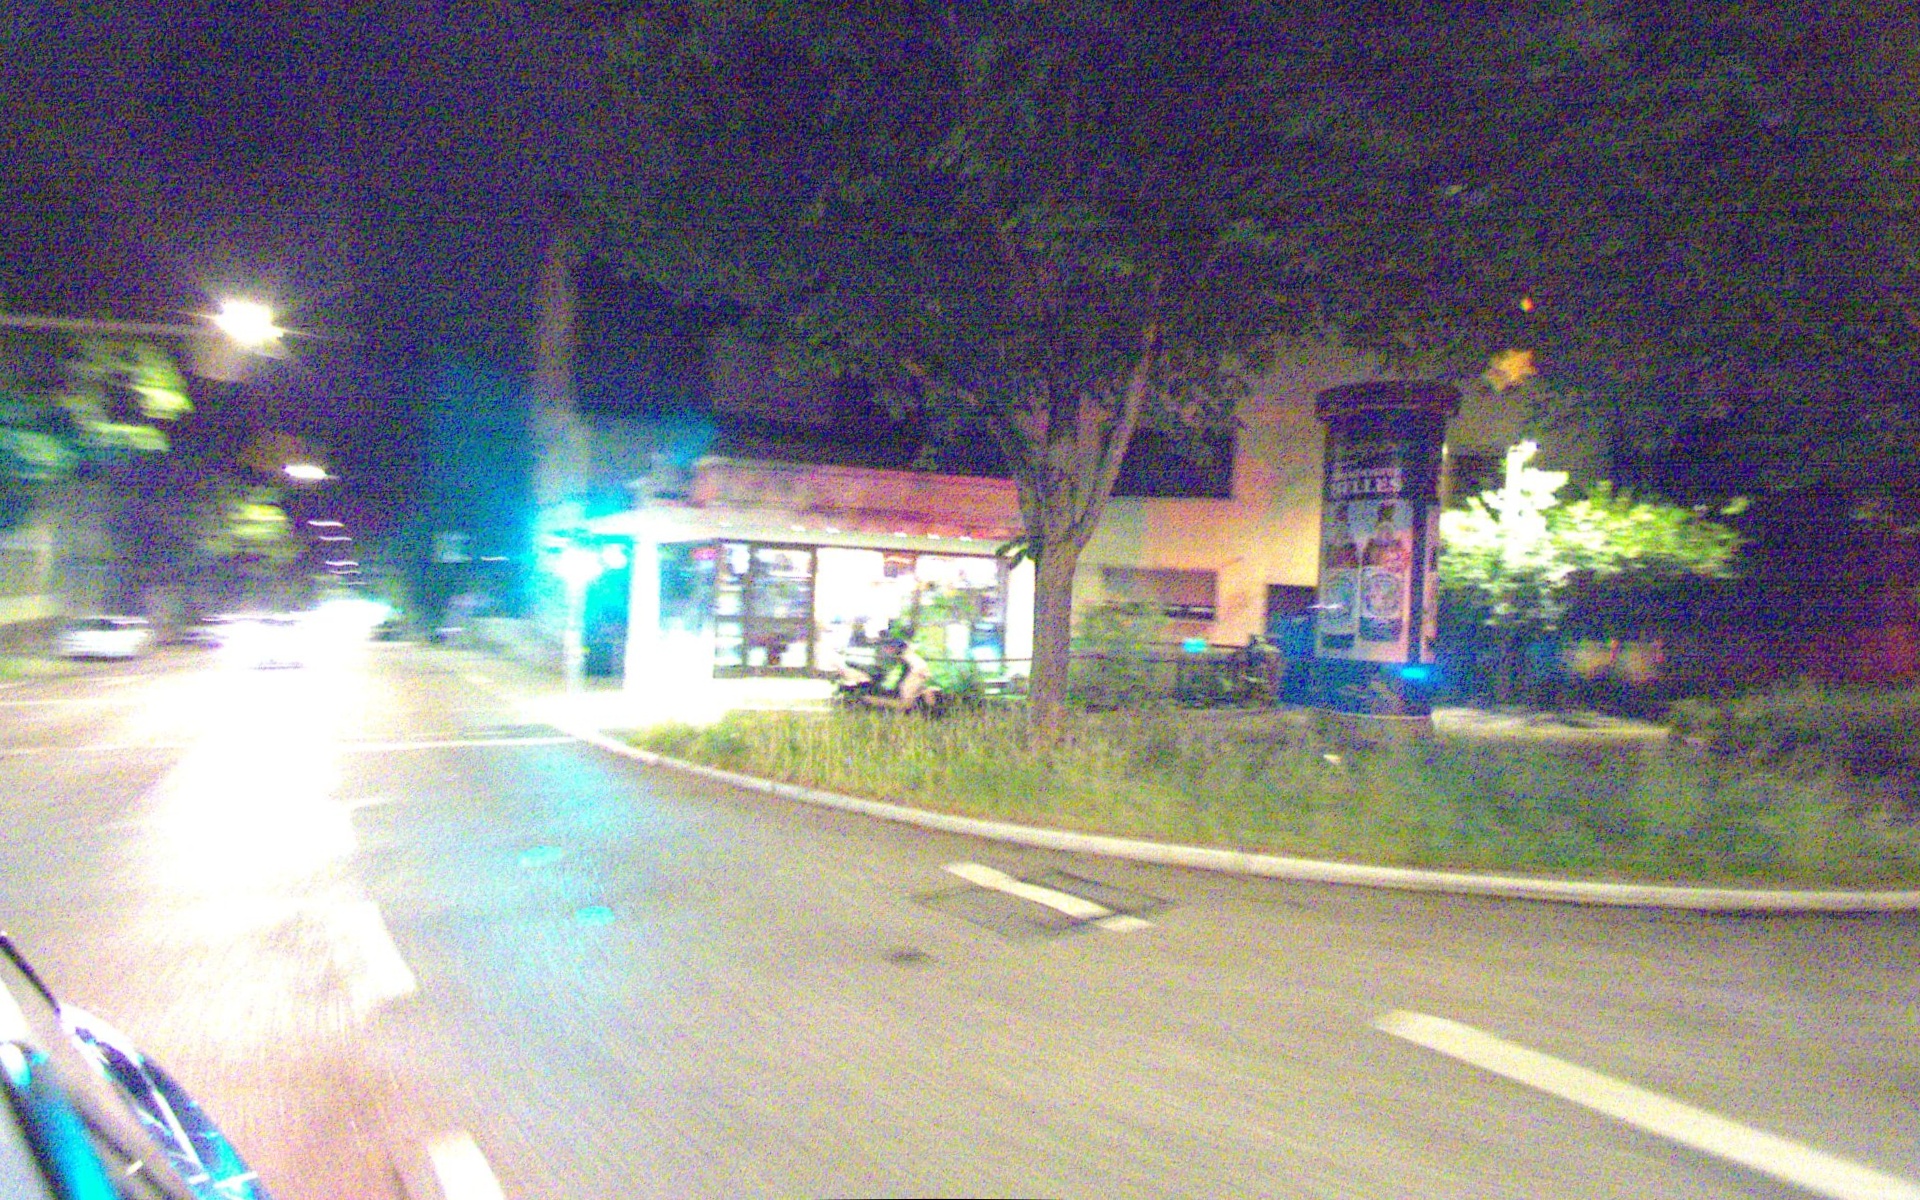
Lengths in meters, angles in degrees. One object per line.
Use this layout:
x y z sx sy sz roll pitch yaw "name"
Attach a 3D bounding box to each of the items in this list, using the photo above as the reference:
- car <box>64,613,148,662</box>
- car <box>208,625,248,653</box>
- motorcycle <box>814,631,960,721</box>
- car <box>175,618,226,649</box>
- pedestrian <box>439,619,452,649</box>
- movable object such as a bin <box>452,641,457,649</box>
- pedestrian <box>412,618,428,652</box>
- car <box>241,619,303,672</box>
-28.563 1.249 33.943 1.600 1.505 3.418 3 -3 -32 "car"
-44.751 2.381 61.955 1.511 1.604 3.567 3 -3 -29 "car"
-1.054 1.081 14.664 2.021 1.239 0.615 -1 -1 15 "motorcycle"
-37.784 1.671 50.420 1.511 1.426 3.419 3 -3 -29 "car"
-26.173 1.728 51.445 0.552 1.542 0.591 1 -2 -30 "pedestrian"
-25.862 2.314 51.746 0.227 0.410 0.468 1 -2 -28 "movable object such as a bin"
-26.869 1.735 50.355 0.638 1.654 0.750 1 -2 -28 "pedestrian"
-21.082 1.348 31.089 1.489 1.513 3.058 -1 0 -33 "car"
